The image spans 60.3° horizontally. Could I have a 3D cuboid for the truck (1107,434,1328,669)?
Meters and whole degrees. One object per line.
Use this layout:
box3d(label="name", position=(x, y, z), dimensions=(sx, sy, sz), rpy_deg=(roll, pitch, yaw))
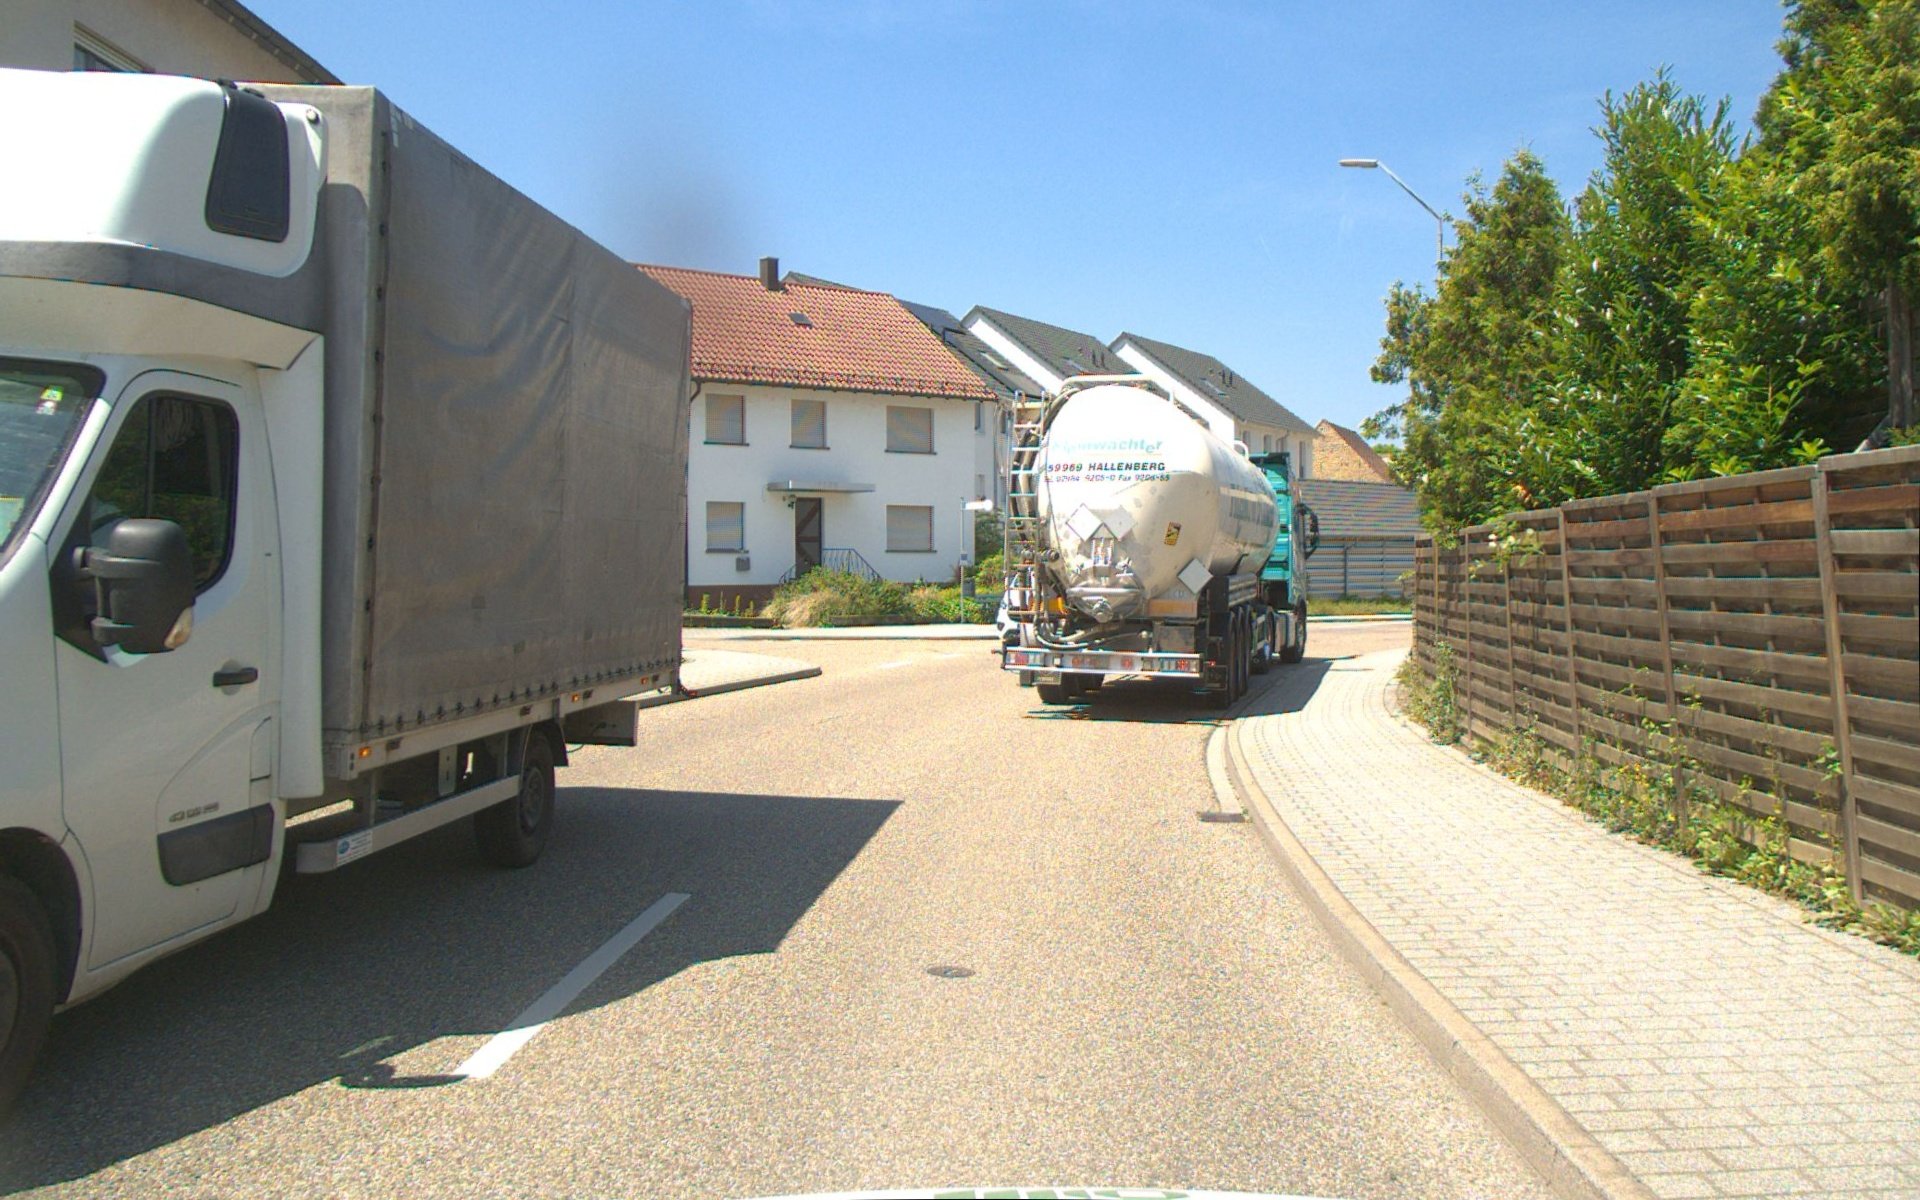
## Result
box3d(label="truck", position=(5.077, -0.856, 31.778), dimensions=(2.926, 4.034, 5.579), rpy_deg=(-1, 0, 22))

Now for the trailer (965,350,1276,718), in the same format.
box3d(label="trailer", position=(2.829, -0.810, 24.029), dimensions=(2.889, 4.016, 11.629), rpy_deg=(1, 1, 13))

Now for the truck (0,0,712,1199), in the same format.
box3d(label="truck", position=(-3.141, -0.395, 7.196), dimensions=(2.415, 3.426, 7.620), rpy_deg=(2, 1, 3))

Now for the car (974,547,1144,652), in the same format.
box3d(label="car", position=(2.221, -0.072, 35.417), dimensions=(1.953, 2.034, 5.213), rpy_deg=(2, 2, 23))
